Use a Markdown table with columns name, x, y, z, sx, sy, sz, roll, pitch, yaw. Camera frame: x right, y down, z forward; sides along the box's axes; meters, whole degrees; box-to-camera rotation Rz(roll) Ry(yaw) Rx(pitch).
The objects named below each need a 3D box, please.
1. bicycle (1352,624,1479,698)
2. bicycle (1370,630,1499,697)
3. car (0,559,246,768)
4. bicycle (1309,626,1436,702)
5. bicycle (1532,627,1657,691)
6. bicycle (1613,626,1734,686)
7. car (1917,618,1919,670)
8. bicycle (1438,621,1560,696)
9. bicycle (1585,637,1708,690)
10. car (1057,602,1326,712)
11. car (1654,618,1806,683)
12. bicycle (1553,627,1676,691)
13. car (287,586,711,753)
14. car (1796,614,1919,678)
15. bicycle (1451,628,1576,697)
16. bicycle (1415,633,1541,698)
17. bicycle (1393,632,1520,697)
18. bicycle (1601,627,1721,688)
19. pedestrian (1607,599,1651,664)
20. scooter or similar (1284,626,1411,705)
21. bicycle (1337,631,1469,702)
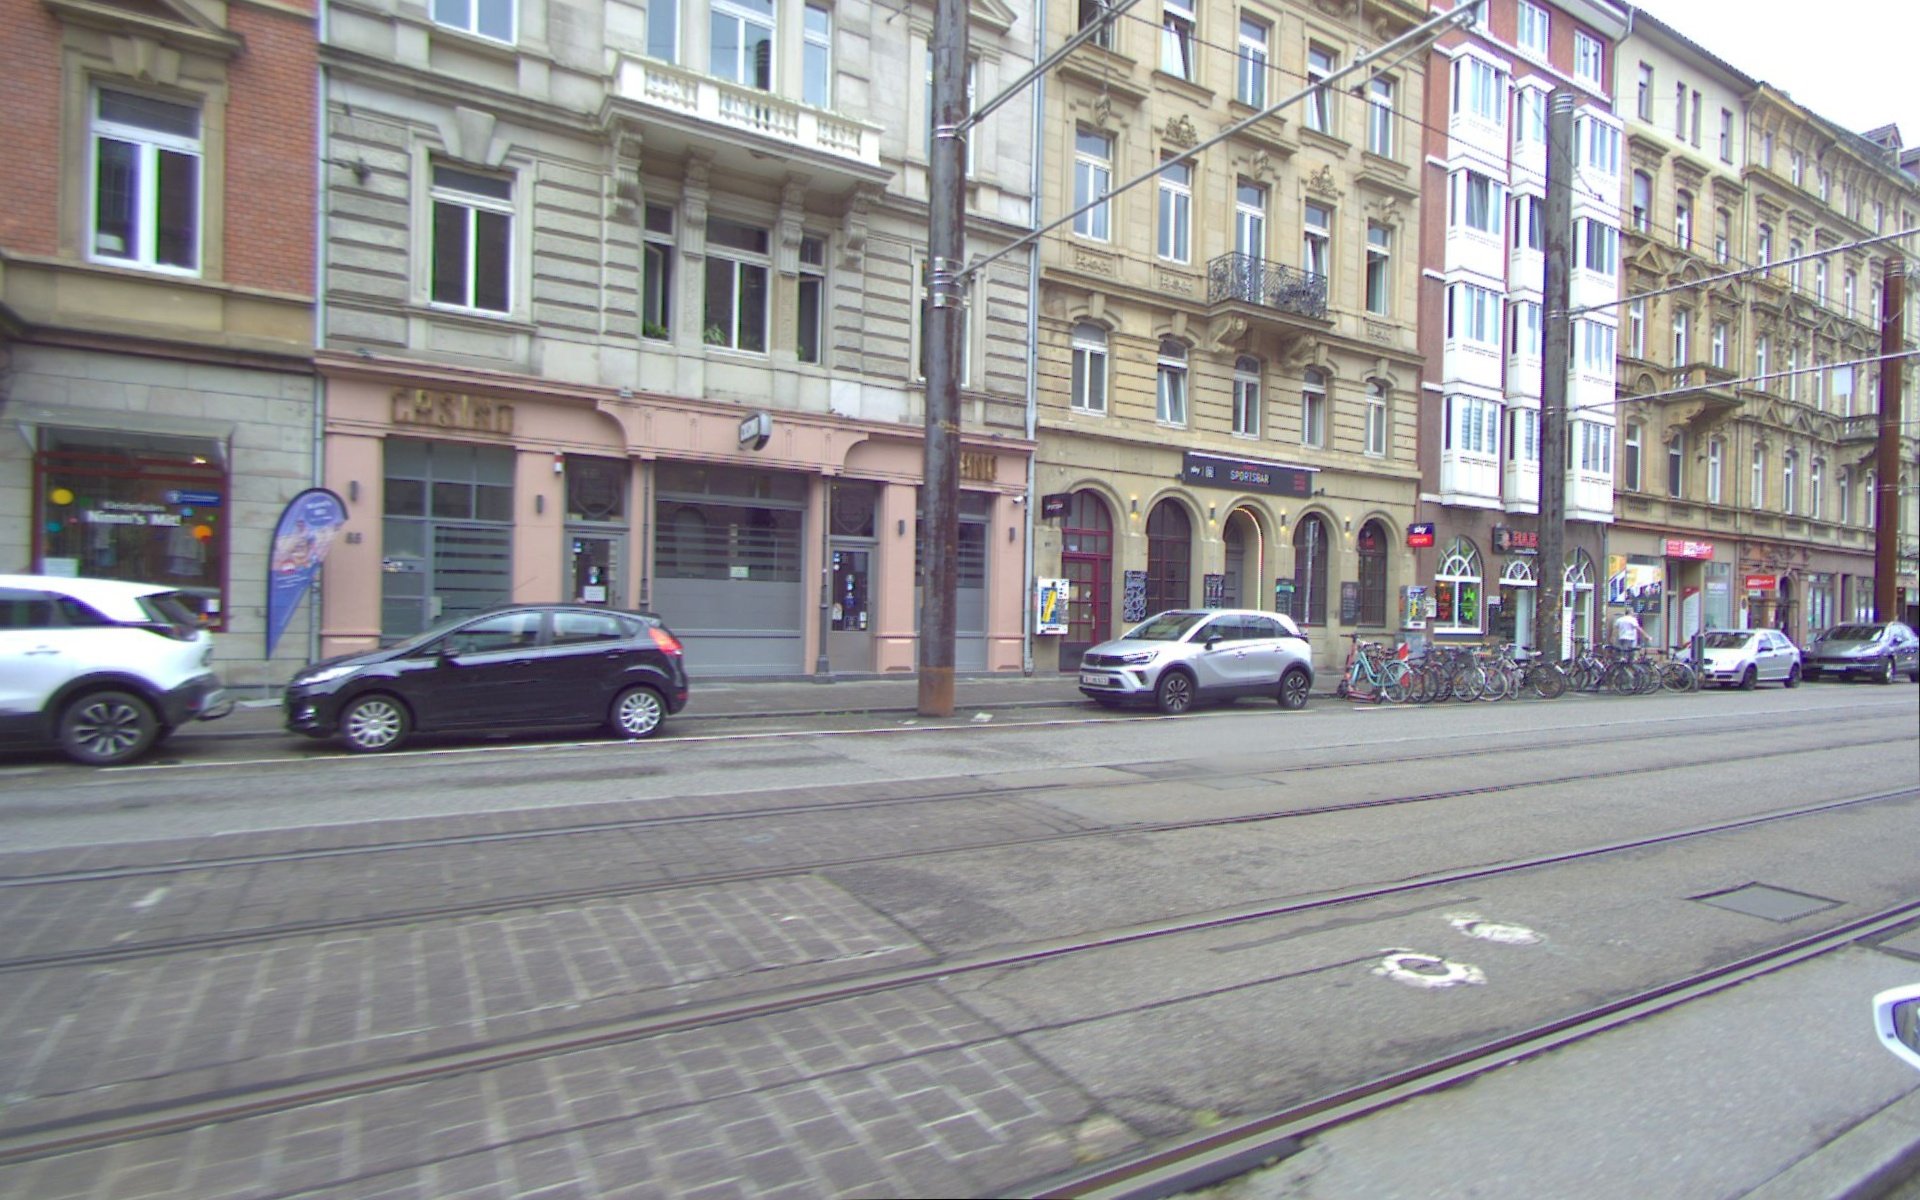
| name | x | y | z | sx | sy | sz | roll | pitch | yaw |
| --- | --- | --- | --- | --- | --- | --- | --- | --- | --- |
| bicycle | 8.551 | 1.116 | 18.978 | 0.534 | 1.219 | 2.271 | 3 | 0 | -29 |
| bicycle | 9.092 | 1.193 | 19.347 | 0.696 | 1.219 | 2.272 | 1 | -2 | -29 |
| car | -8.704 | 0.519 | 8.639 | 3.999 | 1.694 | 1.735 | 1 | -1 | -31 |
| bicycle | 7.450 | 1.122 | 18.270 | 0.541 | 1.219 | 2.272 | 1 | 0 | -29 |
| bicycle | 13.877 | 1.269 | 22.058 | 0.658 | 1.347 | 2.272 | 1 | -2 | -29 |
| bicycle | 16.840 | 1.305 | 23.766 | 0.658 | 1.347 | 2.272 | 1 | -2 | -29 |
| car | 33.957 | 1.476 | 33.387 | 4.996 | 1.711 | 1.909 | 2 | -3 | -32 |
| bicycle | 10.934 | 1.160 | 20.486 | 0.443 | 1.311 | 2.271 | 1 | 2 | -29 |
| bicycle | 15.712 | 1.424 | 23.062 | 0.612 | 1.055 | 2.272 | 1 | 0 | -29 |
| car | 3.742 | 0.853 | 16.049 | 4.177 | 1.553 | 1.735 | 1 | -1 | -31 |
| car | 19.223 | 1.226 | 25.042 | 3.875 | 1.508 | 1.735 | 1 | -1 | -31 |
| bicycle | 14.587 | 1.298 | 22.467 | 0.658 | 1.347 | 2.272 | 1 | -2 | -29 |
| car | -4.844 | 0.678 | 10.852 | 3.873 | 1.508 | 1.736 | 1 | -1 | -30 |
| car | 26.310 | 1.295 | 29.151 | 4.978 | 1.712 | 1.803 | 1 | -1 | -33 |
| bicycle | 11.396 | 1.256 | 20.779 | 0.658 | 1.347 | 2.272 | 1 | -2 | -29 |
| bicycle | 10.334 | 1.274 | 20.140 | 0.658 | 1.219 | 2.272 | 1 | -2 | -29 |
| bicycle | 9.729 | 1.237 | 19.778 | 0.658 | 1.219 | 2.272 | 1 | -2 | -29 |
| bicycle | 16.249 | 1.312 | 23.360 | 0.515 | 1.347 | 2.272 | 1 | -2 | -29 |
| pedestrian | 19.063 | 0.895 | 28.615 | 0.769 | 1.806 | 0.655 | 2 | 1 | 7 |
| scooter or similar | 6.884 | 1.133 | 17.996 | 0.541 | 1.219 | 2.271 | 1 | 1 | -29 |
| bicycle | 8.100 | 1.183 | 18.493 | 0.696 | 1.219 | 2.272 | 1 | -2 | -29 |
